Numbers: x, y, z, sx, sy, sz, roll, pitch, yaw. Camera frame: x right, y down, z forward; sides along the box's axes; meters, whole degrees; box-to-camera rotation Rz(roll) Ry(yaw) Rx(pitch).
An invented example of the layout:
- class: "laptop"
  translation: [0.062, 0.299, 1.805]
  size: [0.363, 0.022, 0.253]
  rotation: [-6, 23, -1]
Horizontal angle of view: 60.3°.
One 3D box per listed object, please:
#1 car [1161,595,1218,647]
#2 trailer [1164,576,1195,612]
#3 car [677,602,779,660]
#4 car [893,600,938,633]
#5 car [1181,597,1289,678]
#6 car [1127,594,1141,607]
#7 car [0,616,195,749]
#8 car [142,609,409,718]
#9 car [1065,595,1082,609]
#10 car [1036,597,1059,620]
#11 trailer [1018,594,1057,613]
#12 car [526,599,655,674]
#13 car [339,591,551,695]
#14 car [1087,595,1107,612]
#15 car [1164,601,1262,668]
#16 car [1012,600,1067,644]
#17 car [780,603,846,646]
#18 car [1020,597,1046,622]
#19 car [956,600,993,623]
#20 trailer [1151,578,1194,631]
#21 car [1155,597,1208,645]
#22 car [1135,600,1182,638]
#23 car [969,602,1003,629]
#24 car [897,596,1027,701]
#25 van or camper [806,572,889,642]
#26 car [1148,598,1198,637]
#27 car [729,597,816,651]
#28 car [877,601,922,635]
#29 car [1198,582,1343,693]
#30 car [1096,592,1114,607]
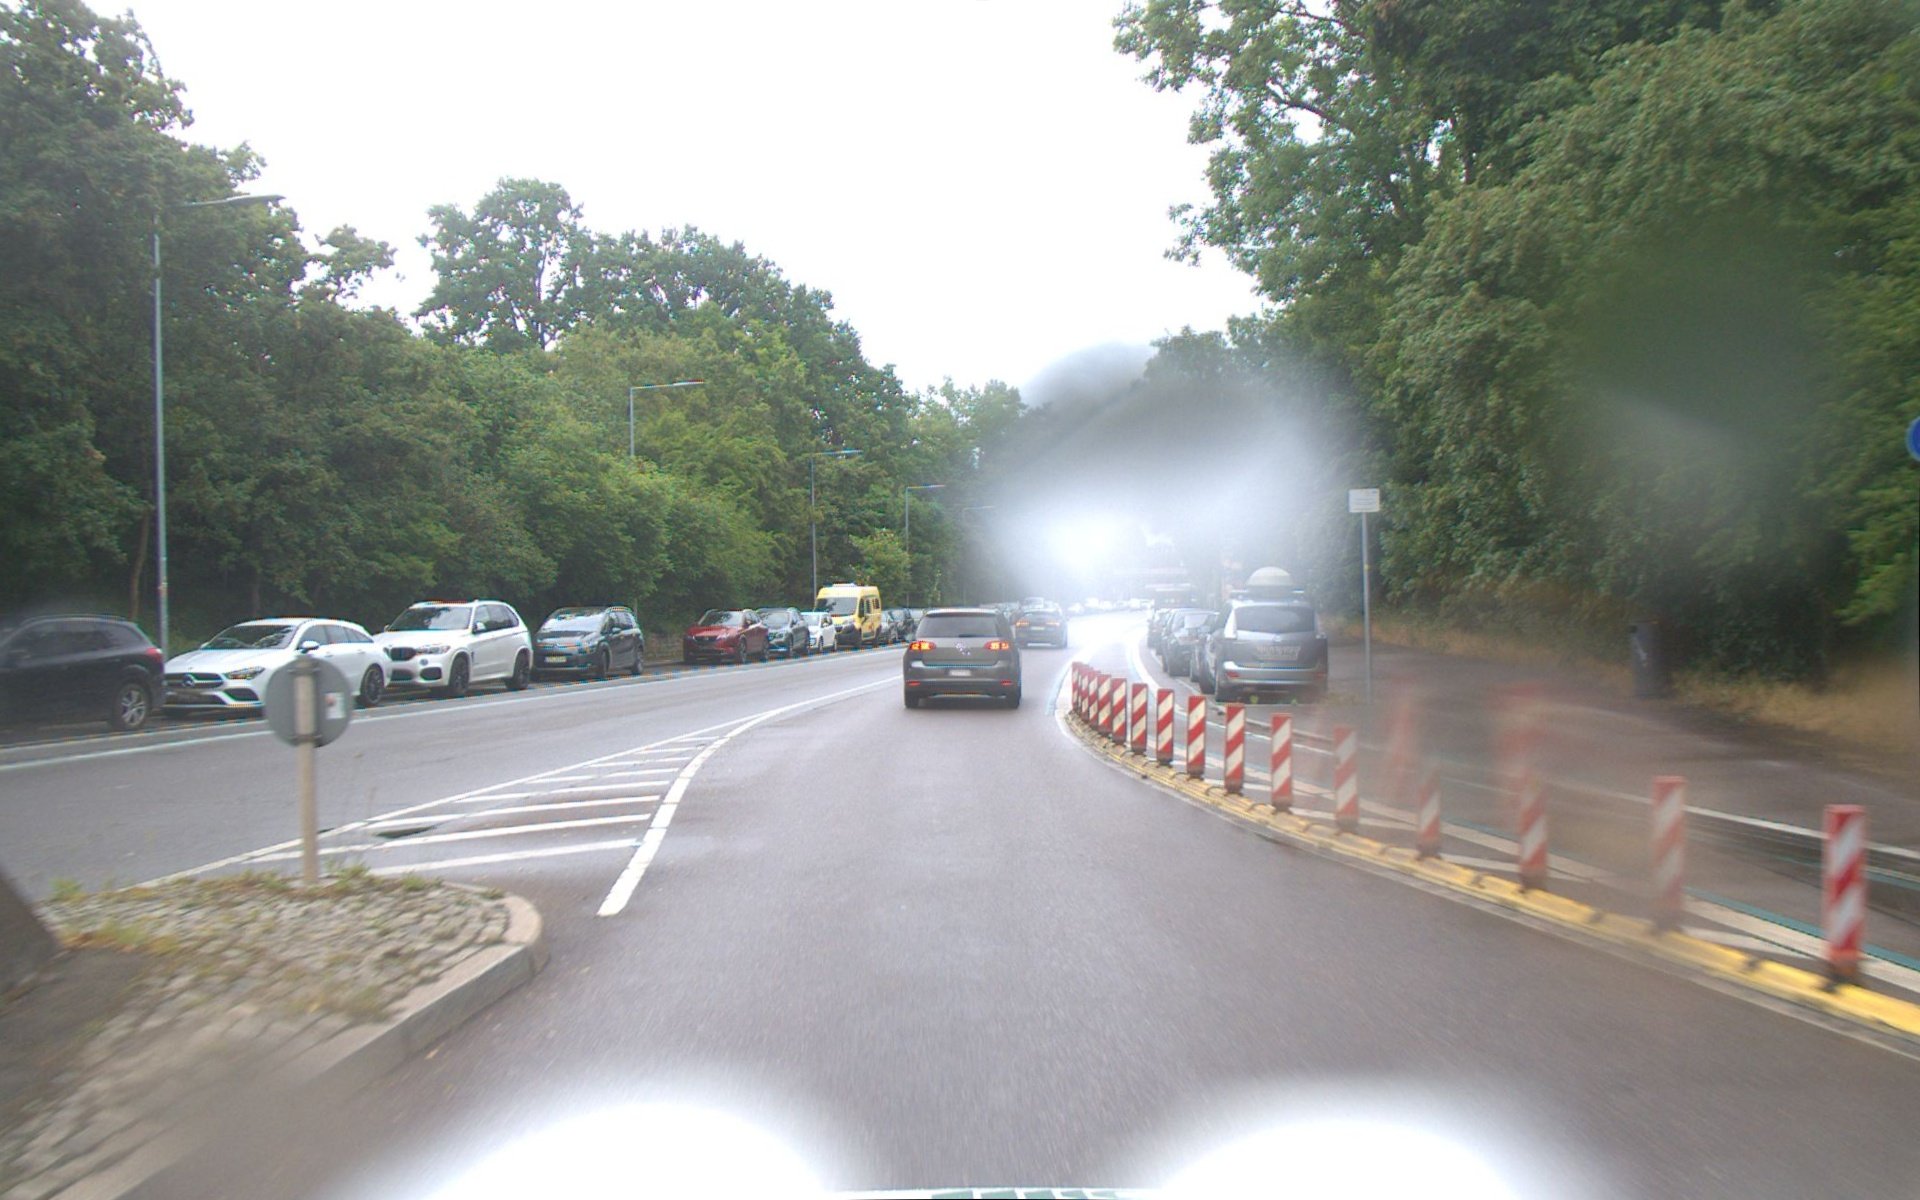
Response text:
- class: "car"
  translation: [6.862, 0.606, 49.657]
  size: [1.526, 1.486, 3.678]
  rotation: [0, 0, 5]
- class: "trailer"
  translation: [16.149, -0.442, 121.643]
  size: [2.087, 2.605, 4.300]
  rotation: [-1, 0, 6]
- class: "car"
  translation: [-7.079, 0.919, 50.865]
  size: [1.878, 1.645, 4.493]
  rotation: [-2, 0, 8]
- class: "car"
  translation: [-2.222, 0.815, 83.686]
  size: [1.568, 1.536, 3.980]
  rotation: [-1, 0, 9]
- class: "car"
  translation: [5.256, 0.691, 32.021]
  size: [1.661, 1.437, 3.705]
  rotation: [1, 0, 3]
- class: "car"
  translation: [23.706, 0.088, 225.275]
  size: [1.783, 1.736, 3.860]
  rotation: [0, 0, 8]
- class: "car"
  translation: [-11.508, 0.959, 20.065]
  size: [1.711, 1.470, 4.591]
  rotation: [-1, 0, 10]
- class: "car"
  translation: [-10.535, 0.921, 25.898]
  size: [1.682, 1.486, 4.712]
  rotation: [-1, 0, 8]
- class: "car"
  translation: [12.770, 0.224, 185.963]
  size: [1.637, 1.540, 3.633]
  rotation: [0, 0, 7]
- class: "car"
  translation: [8.027, 0.732, 151.855]
  size: [1.899, 2.049, 4.743]
  rotation: [-1, 0, 5]
- class: "trailer"
  translation: [6.891, 0.306, 146.331]
  size: [1.600, 1.657, 3.655]
  rotation: [-1, 0, 39]
- class: "car"
  translation: [-8.700, 0.821, 39.362]
  size: [1.694, 1.677, 4.574]
  rotation: [0, 0, 5]
- class: "car"
  translation: [-9.642, 0.764, 31.448]
  size: [1.951, 1.796, 4.964]
  rotation: [-1, 0, 7]
- class: "car"
  translation: [17.351, 0.379, 209.467]
  size: [2.112, 2.049, 5.035]
  rotation: [-1, 0, 9]
- class: "car"
  translation: [5.665, 0.745, 37.487]
  size: [1.814, 1.423, 4.387]
  rotation: [0, 0, 3]
- class: "car"
  translation: [2.982, 0.783, 61.058]
  size: [1.841, 1.491, 4.003]
  rotation: [1, 0, 5]
- class: "car"
  translation: [-5.434, 0.889, 61.367]
  size: [1.583, 1.474, 3.660]
  rotation: [-2, 0, 8]
- class: "car"
  translation: [6.251, 0.806, 141.519]
  size: [1.899, 2.049, 4.743]
  rotation: [-1, 0, 5]
- class: "car"
  translation: [0.905, 0.705, 100.908]
  size: [1.660, 1.323, 4.196]
  rotation: [-1, 0, 8]
- class: "trailer"
  translation: [9.706, 0.184, 75.479]
  size: [1.865, 2.287, 4.772]
  rotation: [-1, 0, 7]
- class: "car"
  translation: [7.278, 0.669, 54.466]
  size: [1.623, 1.490, 3.903]
  rotation: [1, 0, 7]
- class: "car"
  translation: [8.279, 0.780, 69.139]
  size: [1.783, 1.511, 4.202]
  rotation: [1, 0, 5]
- class: "car"
  translation: [1.653, 0.978, 105.748]
  size: [1.660, 1.611, 4.142]
  rotation: [-1, 0, 8]
- class: "car"
  translation: [0.096, 0.732, 25.592]
  size: [1.832, 1.466, 4.297]
  rotation: [1, -1, 2]
- class: "van or camper"
  translation: [-4.500, 0.259, 67.291]
  size: [2.098, 2.673, 5.687]
  rotation: [-1, 0, 9]
- class: "car"
  translation: [8.235, 0.659, 64.251]
  size: [1.715, 1.418, 4.448]
  rotation: [1, 0, 5]
- class: "car"
  translation: [-6.331, 0.774, 56.495]
  size: [1.951, 1.730, 4.619]
  rotation: [-1, 0, 6]
- class: "car"
  translation: [-2.847, 0.846, 78.367]
  size: [1.568, 1.536, 3.141]
  rotation: [-1, 0, 9]
- class: "car"
  translation: [4.964, 0.573, 26.959]
  size: [1.784, 1.643, 4.253]
  rotation: [0, 0, 3]
- class: "car"
  translation: [20.638, -0.053, 234.868]
  size: [2.112, 2.049, 5.035]
  rotation: [-1, 0, 9]
